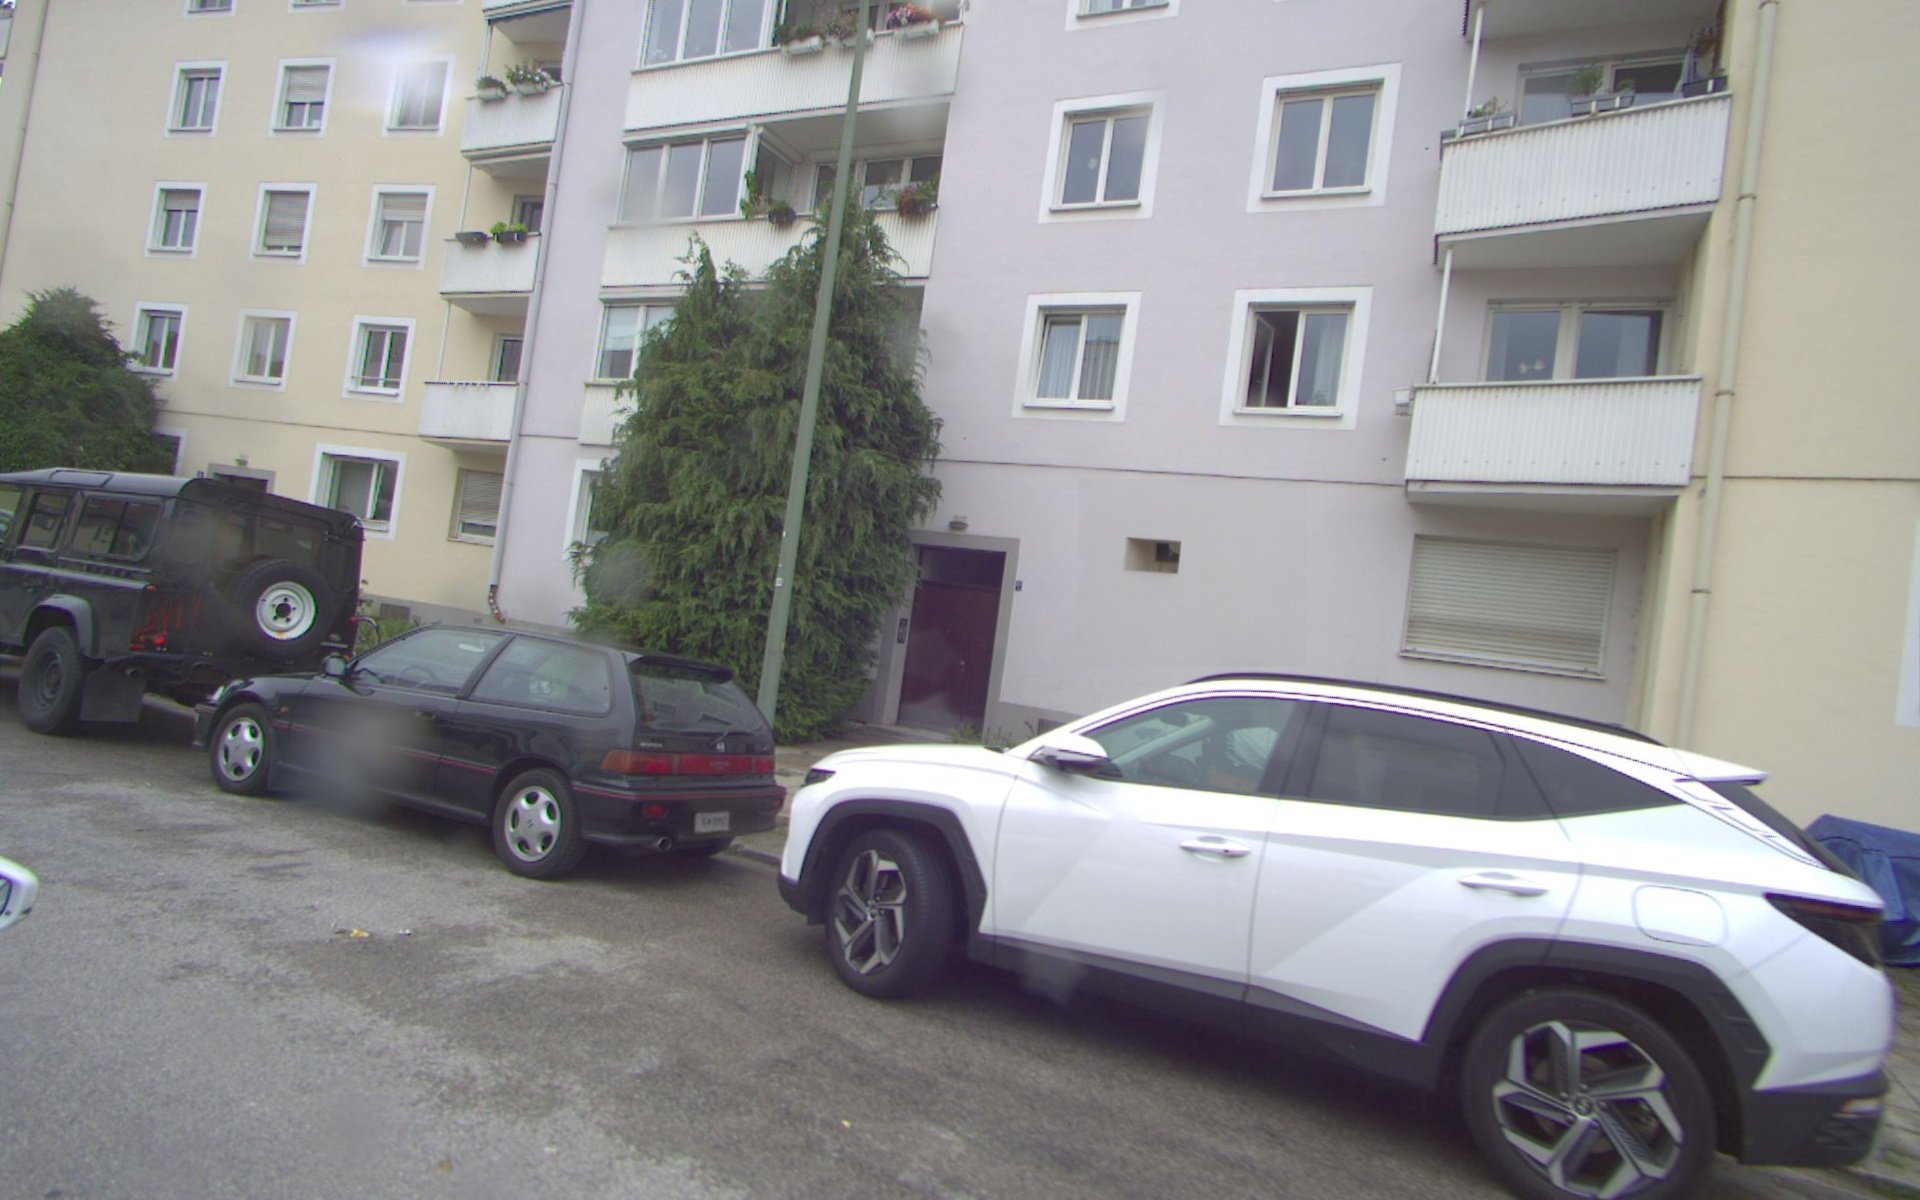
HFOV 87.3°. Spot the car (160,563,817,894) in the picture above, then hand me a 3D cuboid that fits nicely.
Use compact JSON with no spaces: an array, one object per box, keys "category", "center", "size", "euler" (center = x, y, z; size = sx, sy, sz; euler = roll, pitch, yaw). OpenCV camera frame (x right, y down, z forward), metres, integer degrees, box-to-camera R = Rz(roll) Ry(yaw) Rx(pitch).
[{"category":"car","center":[-3.062,0.732,6.611],"size":[3.734,1.363,1.667],"euler":[6,-4,22]}]

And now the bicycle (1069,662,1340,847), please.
[{"category":"bicycle","center":[2.436,1.477,10.081],"size":[2.425,1.385,0.744],"euler":[7,1,21]}]

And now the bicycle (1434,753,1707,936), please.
[{"category":"bicycle","center":[5.053,2.013,8.390],"size":[1.799,1.172,0.578],"euler":[7,0,0]}]

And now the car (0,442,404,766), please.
[{"category":"car","center":[-7.211,-0.070,8.614],"size":[4.435,2.103,1.755],"euler":[8,-4,25]}]

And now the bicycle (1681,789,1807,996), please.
[{"category":"bicycle","center":[5.949,2.132,7.645],"size":[0.569,1.172,1.825],"euler":[7,0,39]}]

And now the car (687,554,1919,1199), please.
[{"category":"car","center":[1.337,1.044,4.552],"size":[4.530,1.695,2.036],"euler":[8,-4,25]}]

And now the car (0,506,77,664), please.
[{"category":"car","center":[-11.968,-0.447,10.922],"size":[4.432,1.582,1.667],"euler":[7,-4,23]}]
